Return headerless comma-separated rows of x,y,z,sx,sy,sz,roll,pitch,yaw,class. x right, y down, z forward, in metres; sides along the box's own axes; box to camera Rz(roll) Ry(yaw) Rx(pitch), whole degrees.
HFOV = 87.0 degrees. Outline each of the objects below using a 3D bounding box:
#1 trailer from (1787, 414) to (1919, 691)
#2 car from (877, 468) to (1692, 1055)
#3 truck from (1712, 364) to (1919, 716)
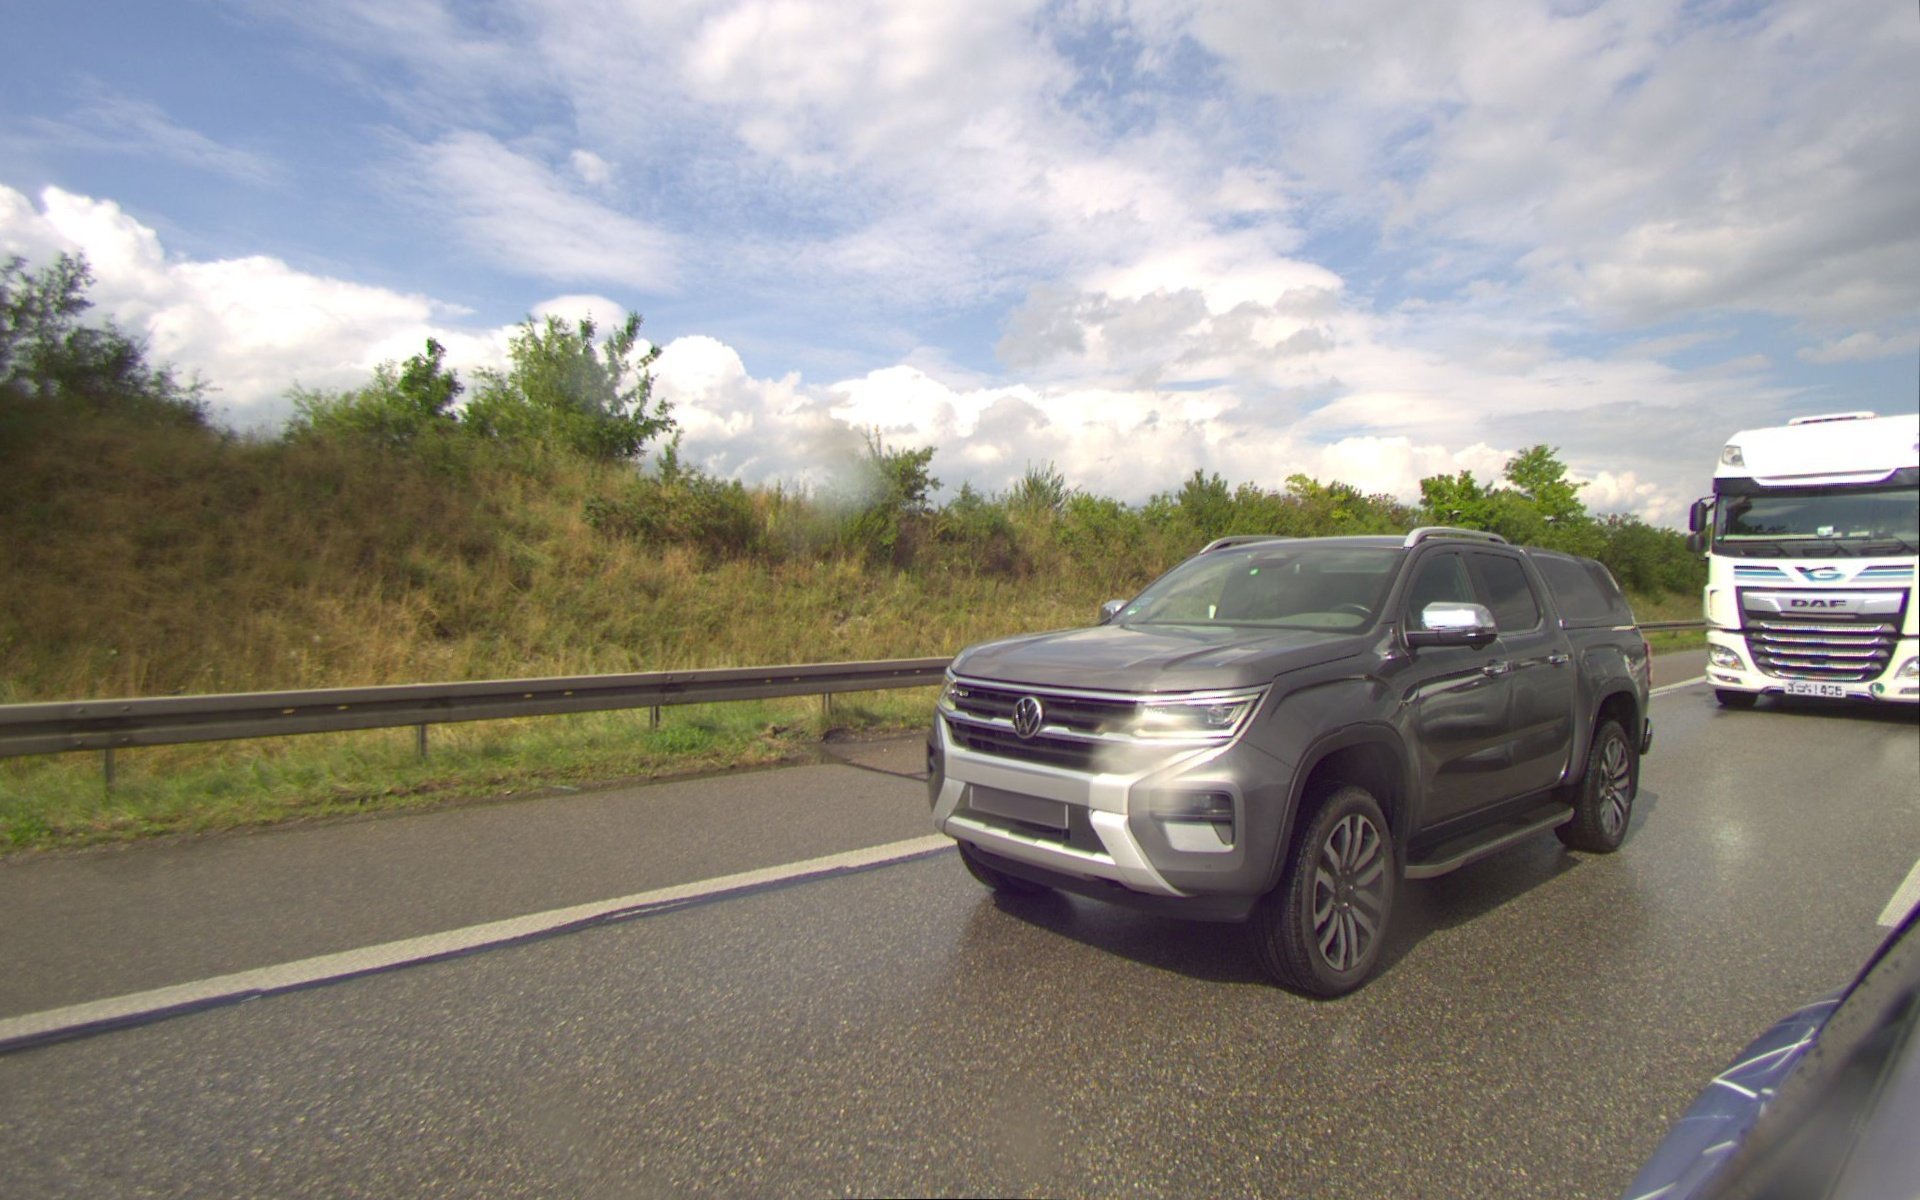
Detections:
18.752,-0.755,19.438,12.003,4.171,2.449,0,0,-41,trailer
2.187,0.482,5.558,5.212,1.826,1.830,0,1,-41,car
12.795,-0.709,14.270,5.239,4.156,2.458,0,0,-41,truck
